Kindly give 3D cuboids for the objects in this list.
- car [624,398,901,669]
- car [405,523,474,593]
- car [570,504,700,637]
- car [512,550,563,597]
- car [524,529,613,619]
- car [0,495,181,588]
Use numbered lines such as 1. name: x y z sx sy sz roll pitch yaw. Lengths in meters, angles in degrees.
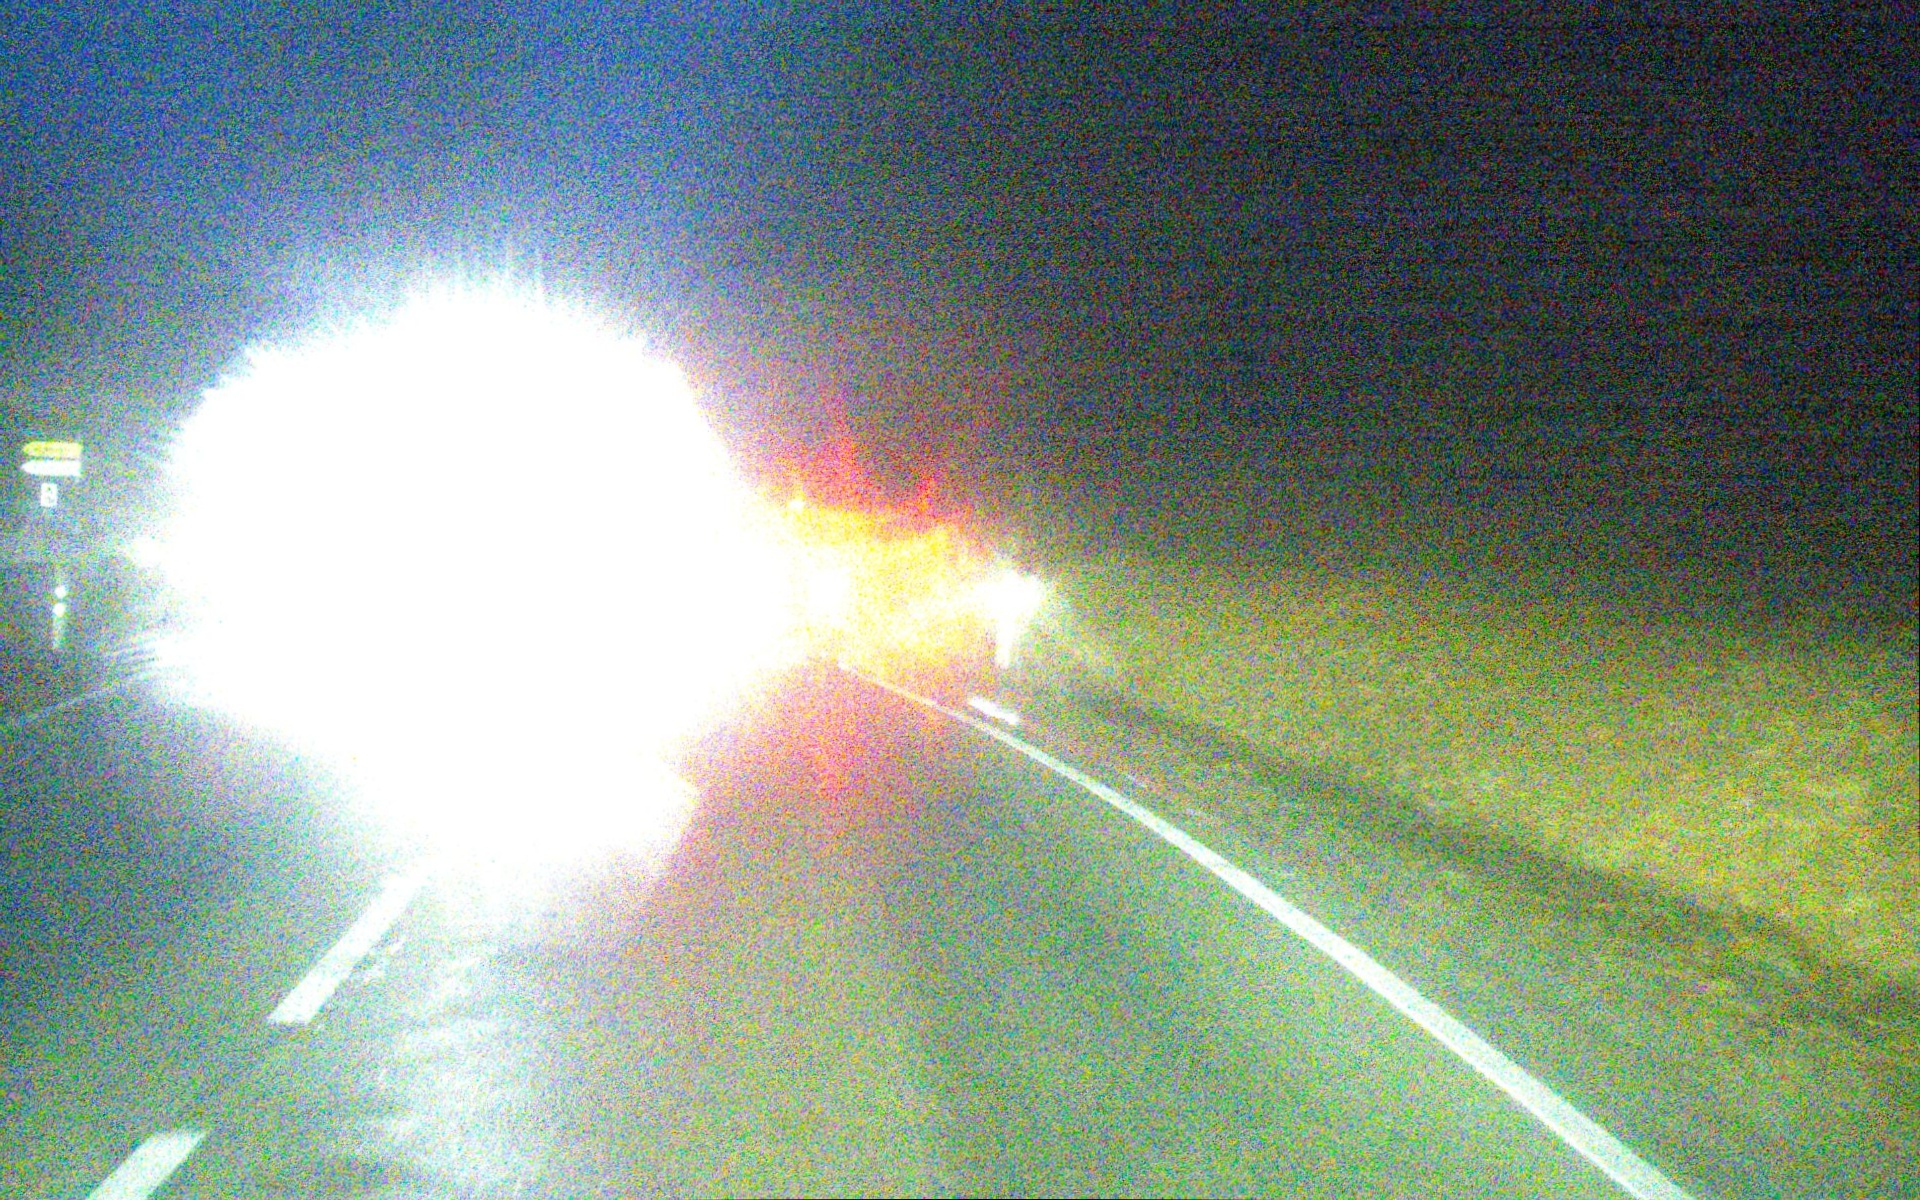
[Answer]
1. car: -2.064 -0.676 34.538 2.538 2.489 5.715 0 1 -5
2. car: -14.313 -1.173 94.614 1.753 1.728 4.001 3 1 -9
3. car: -5.530 -0.456 58.135 1.993 2.007 4.000 3 -2 -7
4. car: -18.066 -1.131 146.889 1.891 1.904 3.796 3 0 -9
5. car: -8.307 -0.529 73.038 1.740 1.708 3.700 3 -2 -6
6. car: -17.319 -1.119 65.090 4.910 1.729 2.001 0 1 -10
